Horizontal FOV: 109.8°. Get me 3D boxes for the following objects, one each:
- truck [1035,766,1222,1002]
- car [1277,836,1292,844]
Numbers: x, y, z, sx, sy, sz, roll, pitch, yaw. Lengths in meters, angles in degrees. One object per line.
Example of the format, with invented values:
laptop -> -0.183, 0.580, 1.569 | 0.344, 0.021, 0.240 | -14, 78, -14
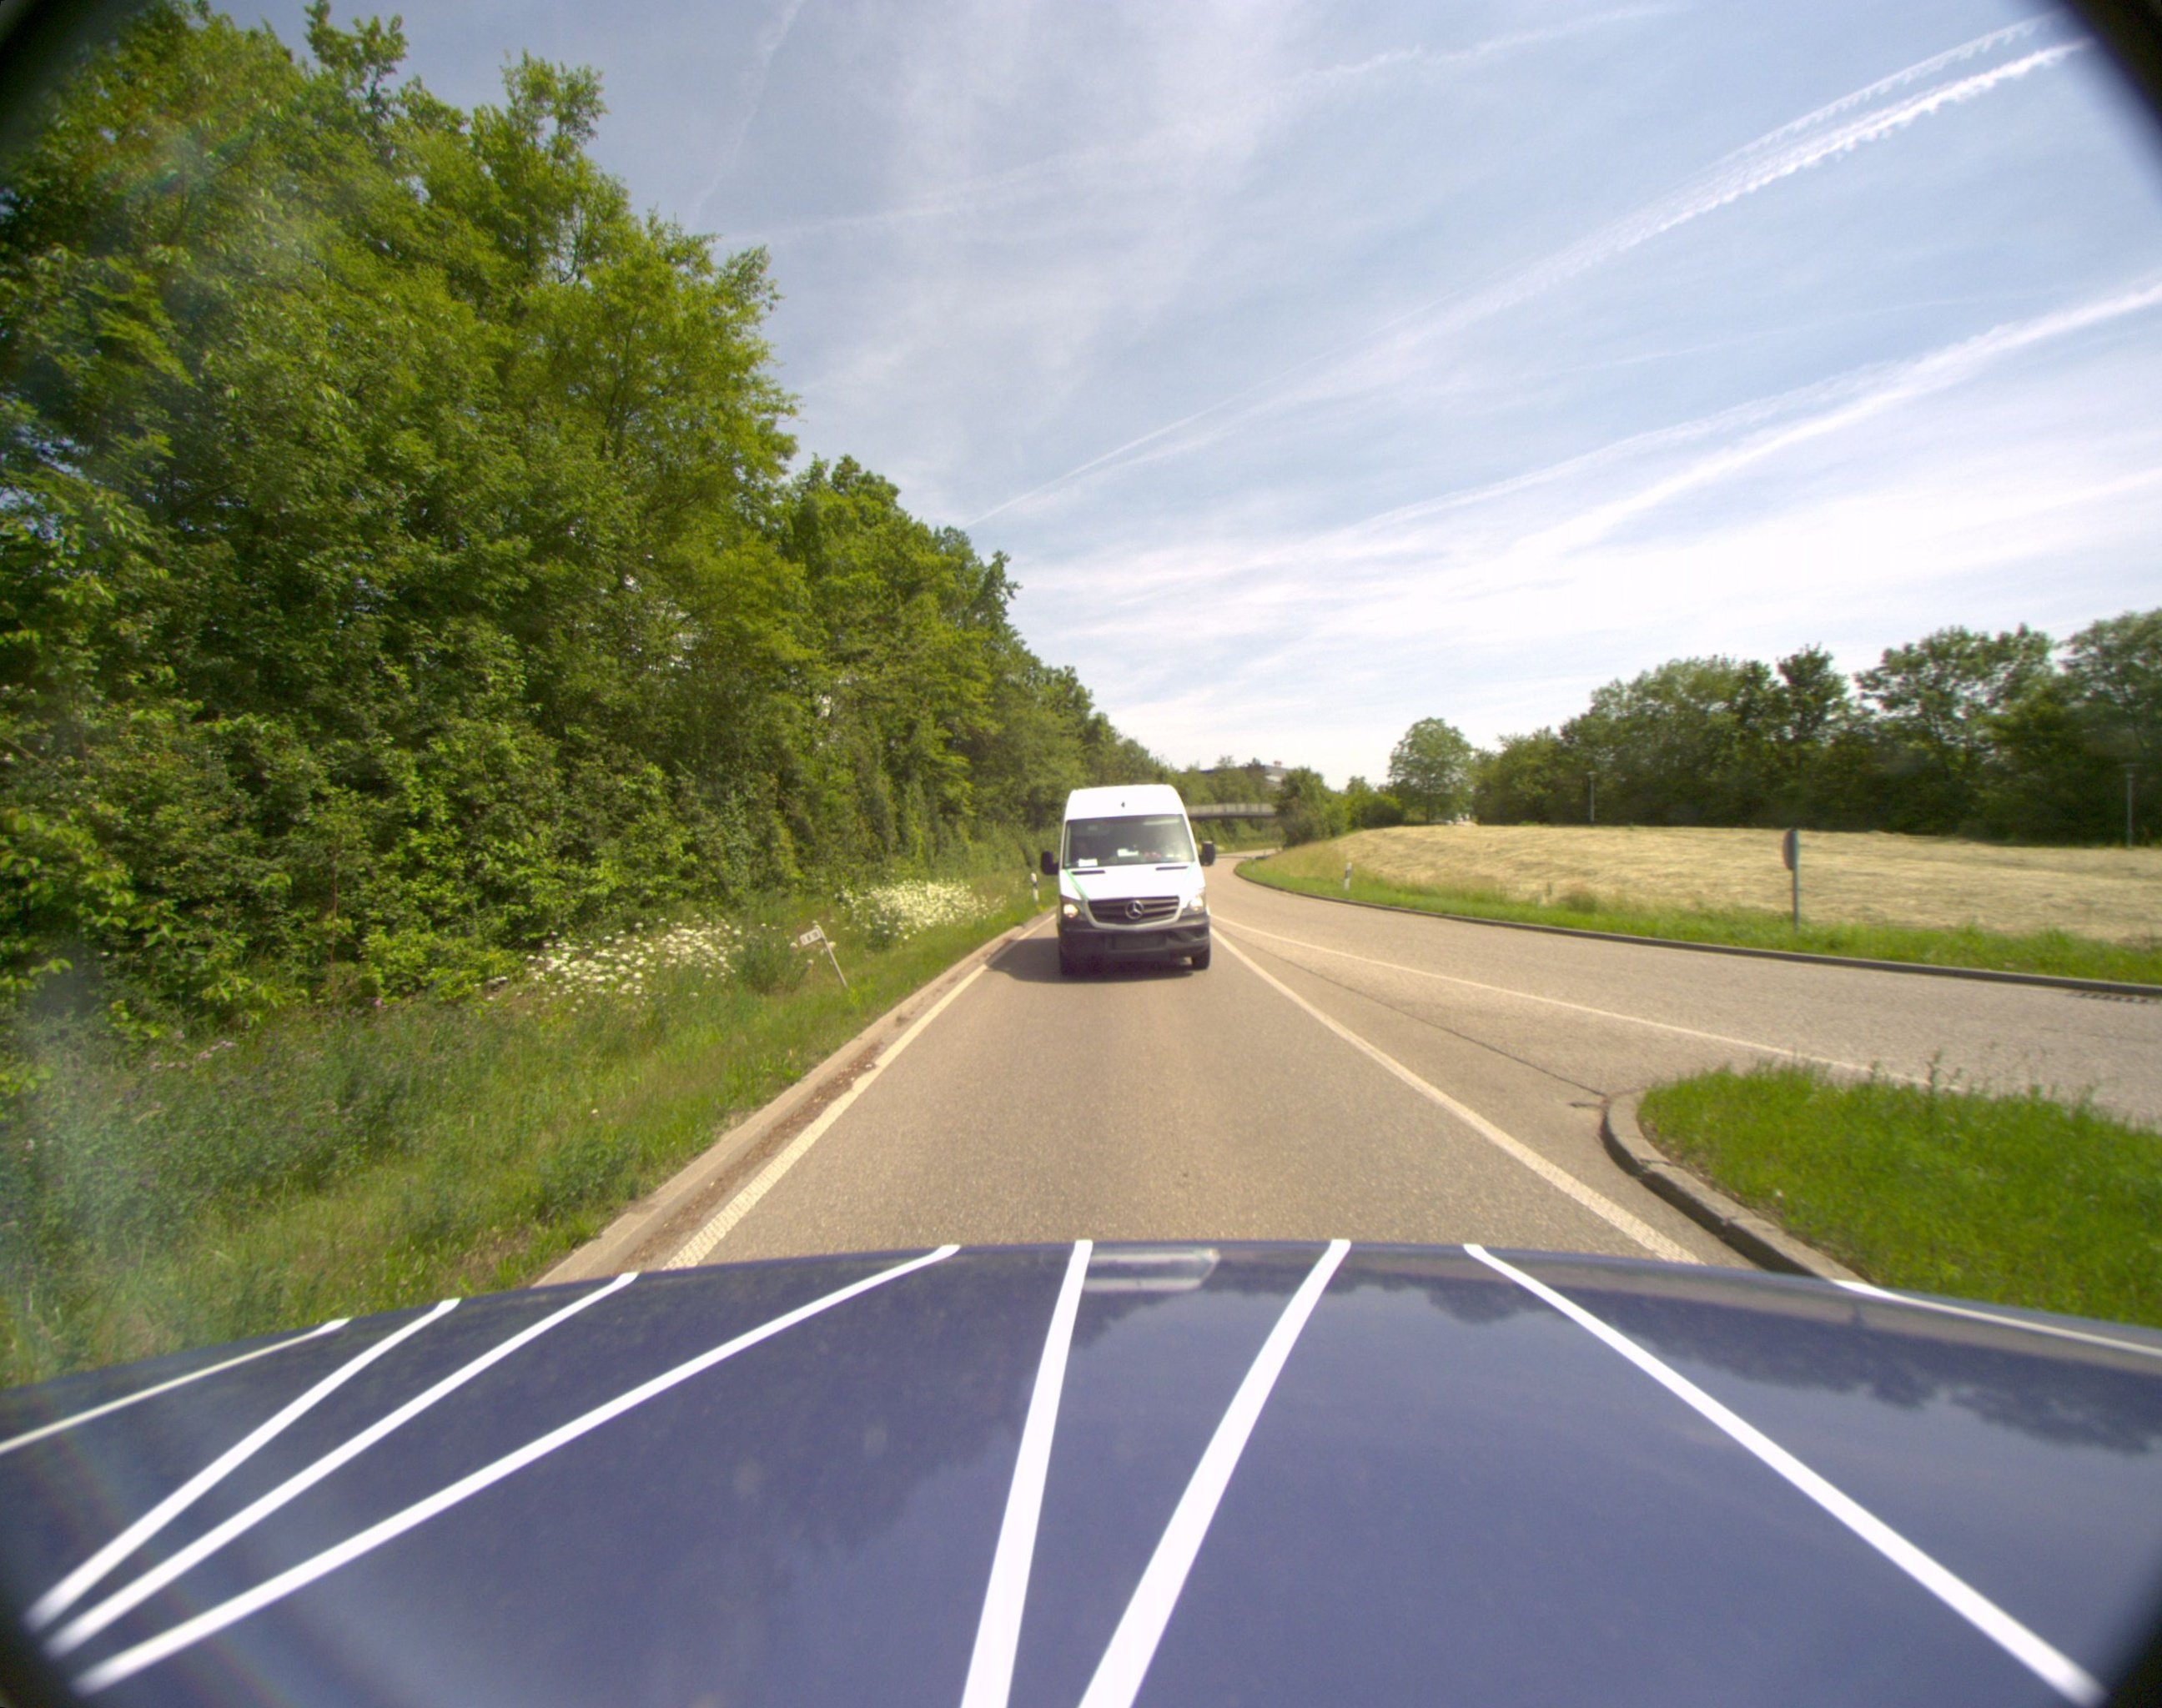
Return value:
truck -> 0.742, 0.350, 11.420 | 1.998, 2.571, 5.889 | -2, 0, 4
car -> 35.780, -2.430, 133.537 | 1.955, 1.414, 3.944 | 0, 0, 26
